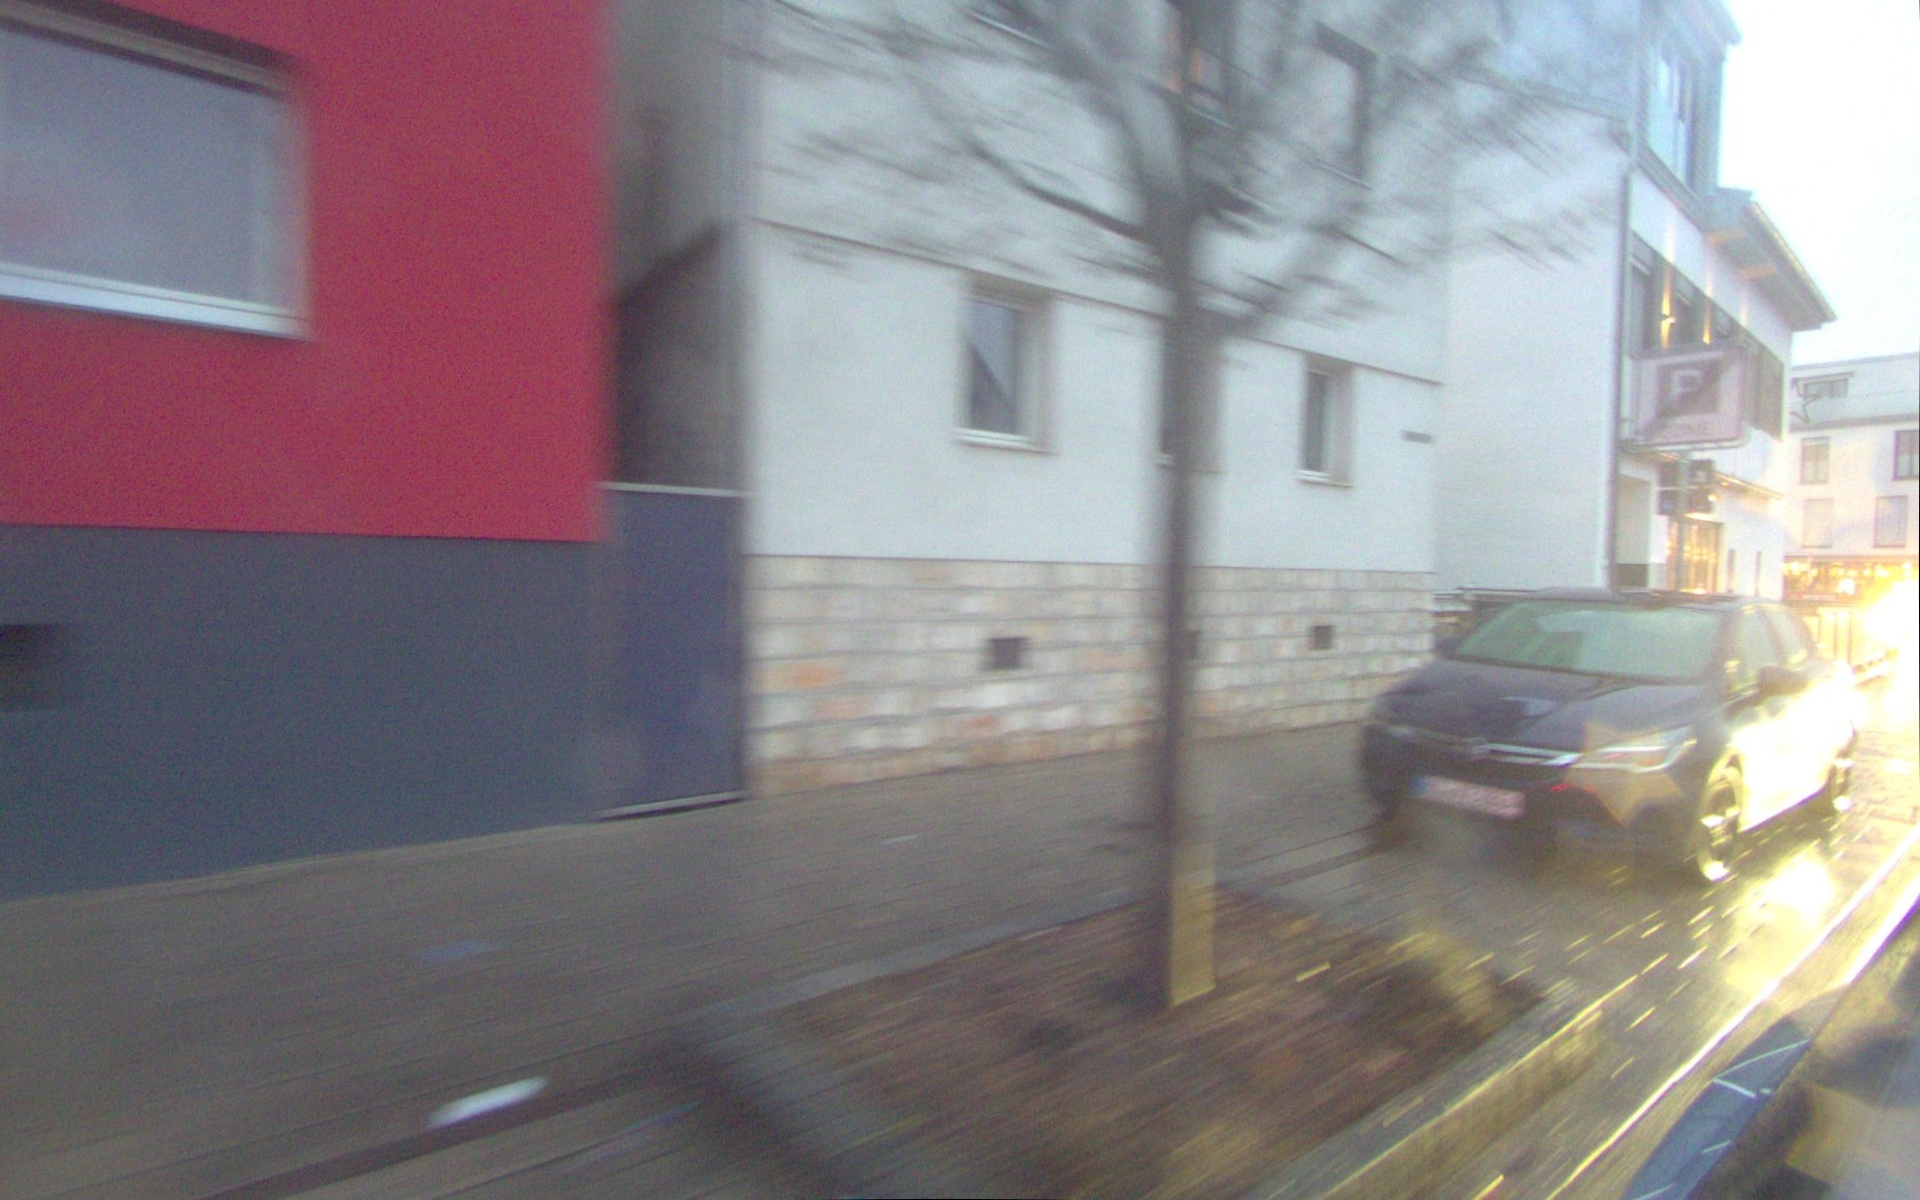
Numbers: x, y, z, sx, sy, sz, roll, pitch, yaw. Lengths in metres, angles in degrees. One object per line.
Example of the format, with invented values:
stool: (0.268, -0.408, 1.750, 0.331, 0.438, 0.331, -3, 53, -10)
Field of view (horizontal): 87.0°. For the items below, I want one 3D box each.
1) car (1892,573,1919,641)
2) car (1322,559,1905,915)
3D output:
car: (27.953, 0.144, 28.618, 1.815, 1.767, 3.951, -1, 2, 35)
car: (4.256, 0.583, 6.344, 4.121, 1.482, 1.734, 0, 4, -38)
